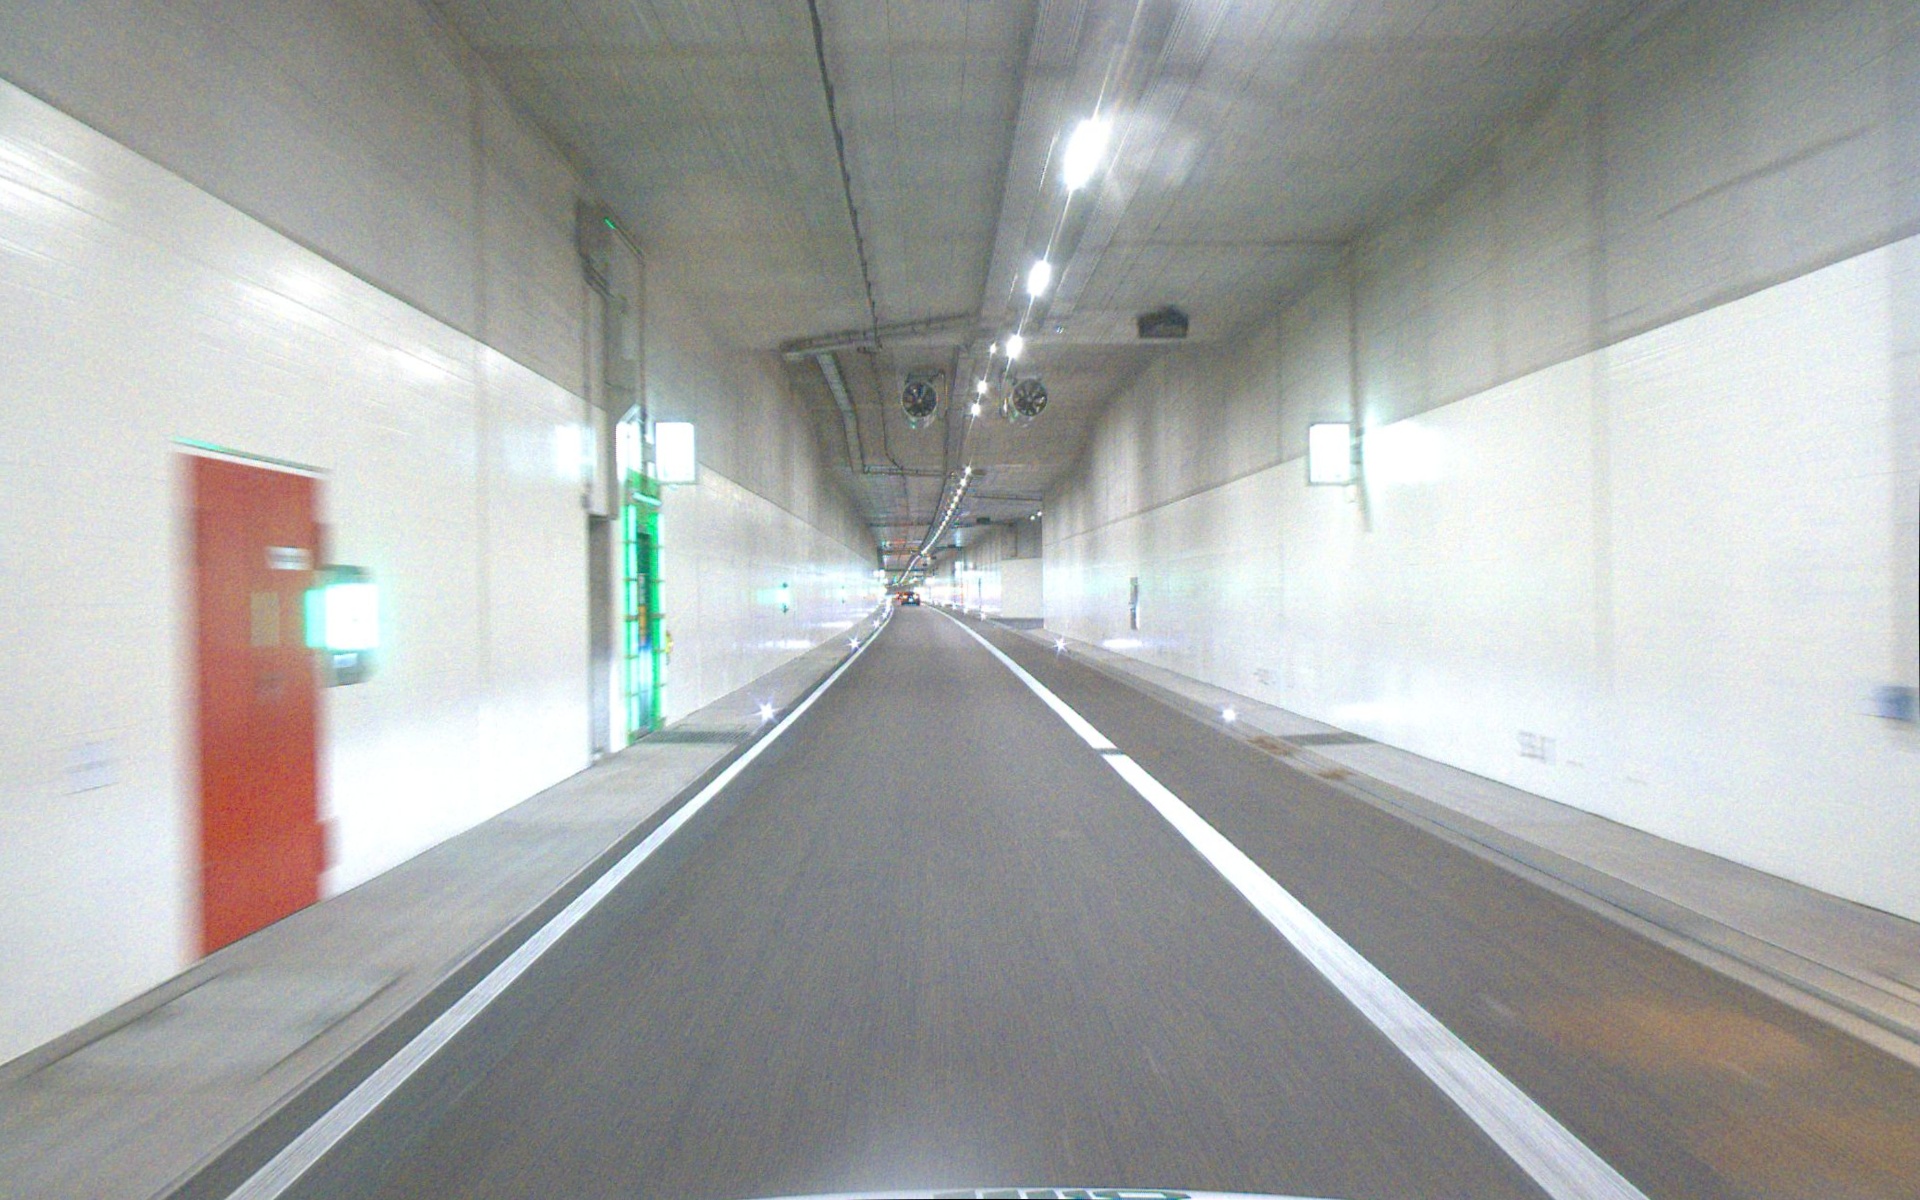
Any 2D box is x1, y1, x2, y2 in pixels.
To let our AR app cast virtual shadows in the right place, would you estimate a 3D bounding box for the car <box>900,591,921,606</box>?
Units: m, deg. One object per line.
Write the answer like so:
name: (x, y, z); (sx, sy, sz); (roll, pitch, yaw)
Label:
car: (-4.859, -0.120, 162.518); (1.954, 1.445, 3.998); (1, 0, -3)
